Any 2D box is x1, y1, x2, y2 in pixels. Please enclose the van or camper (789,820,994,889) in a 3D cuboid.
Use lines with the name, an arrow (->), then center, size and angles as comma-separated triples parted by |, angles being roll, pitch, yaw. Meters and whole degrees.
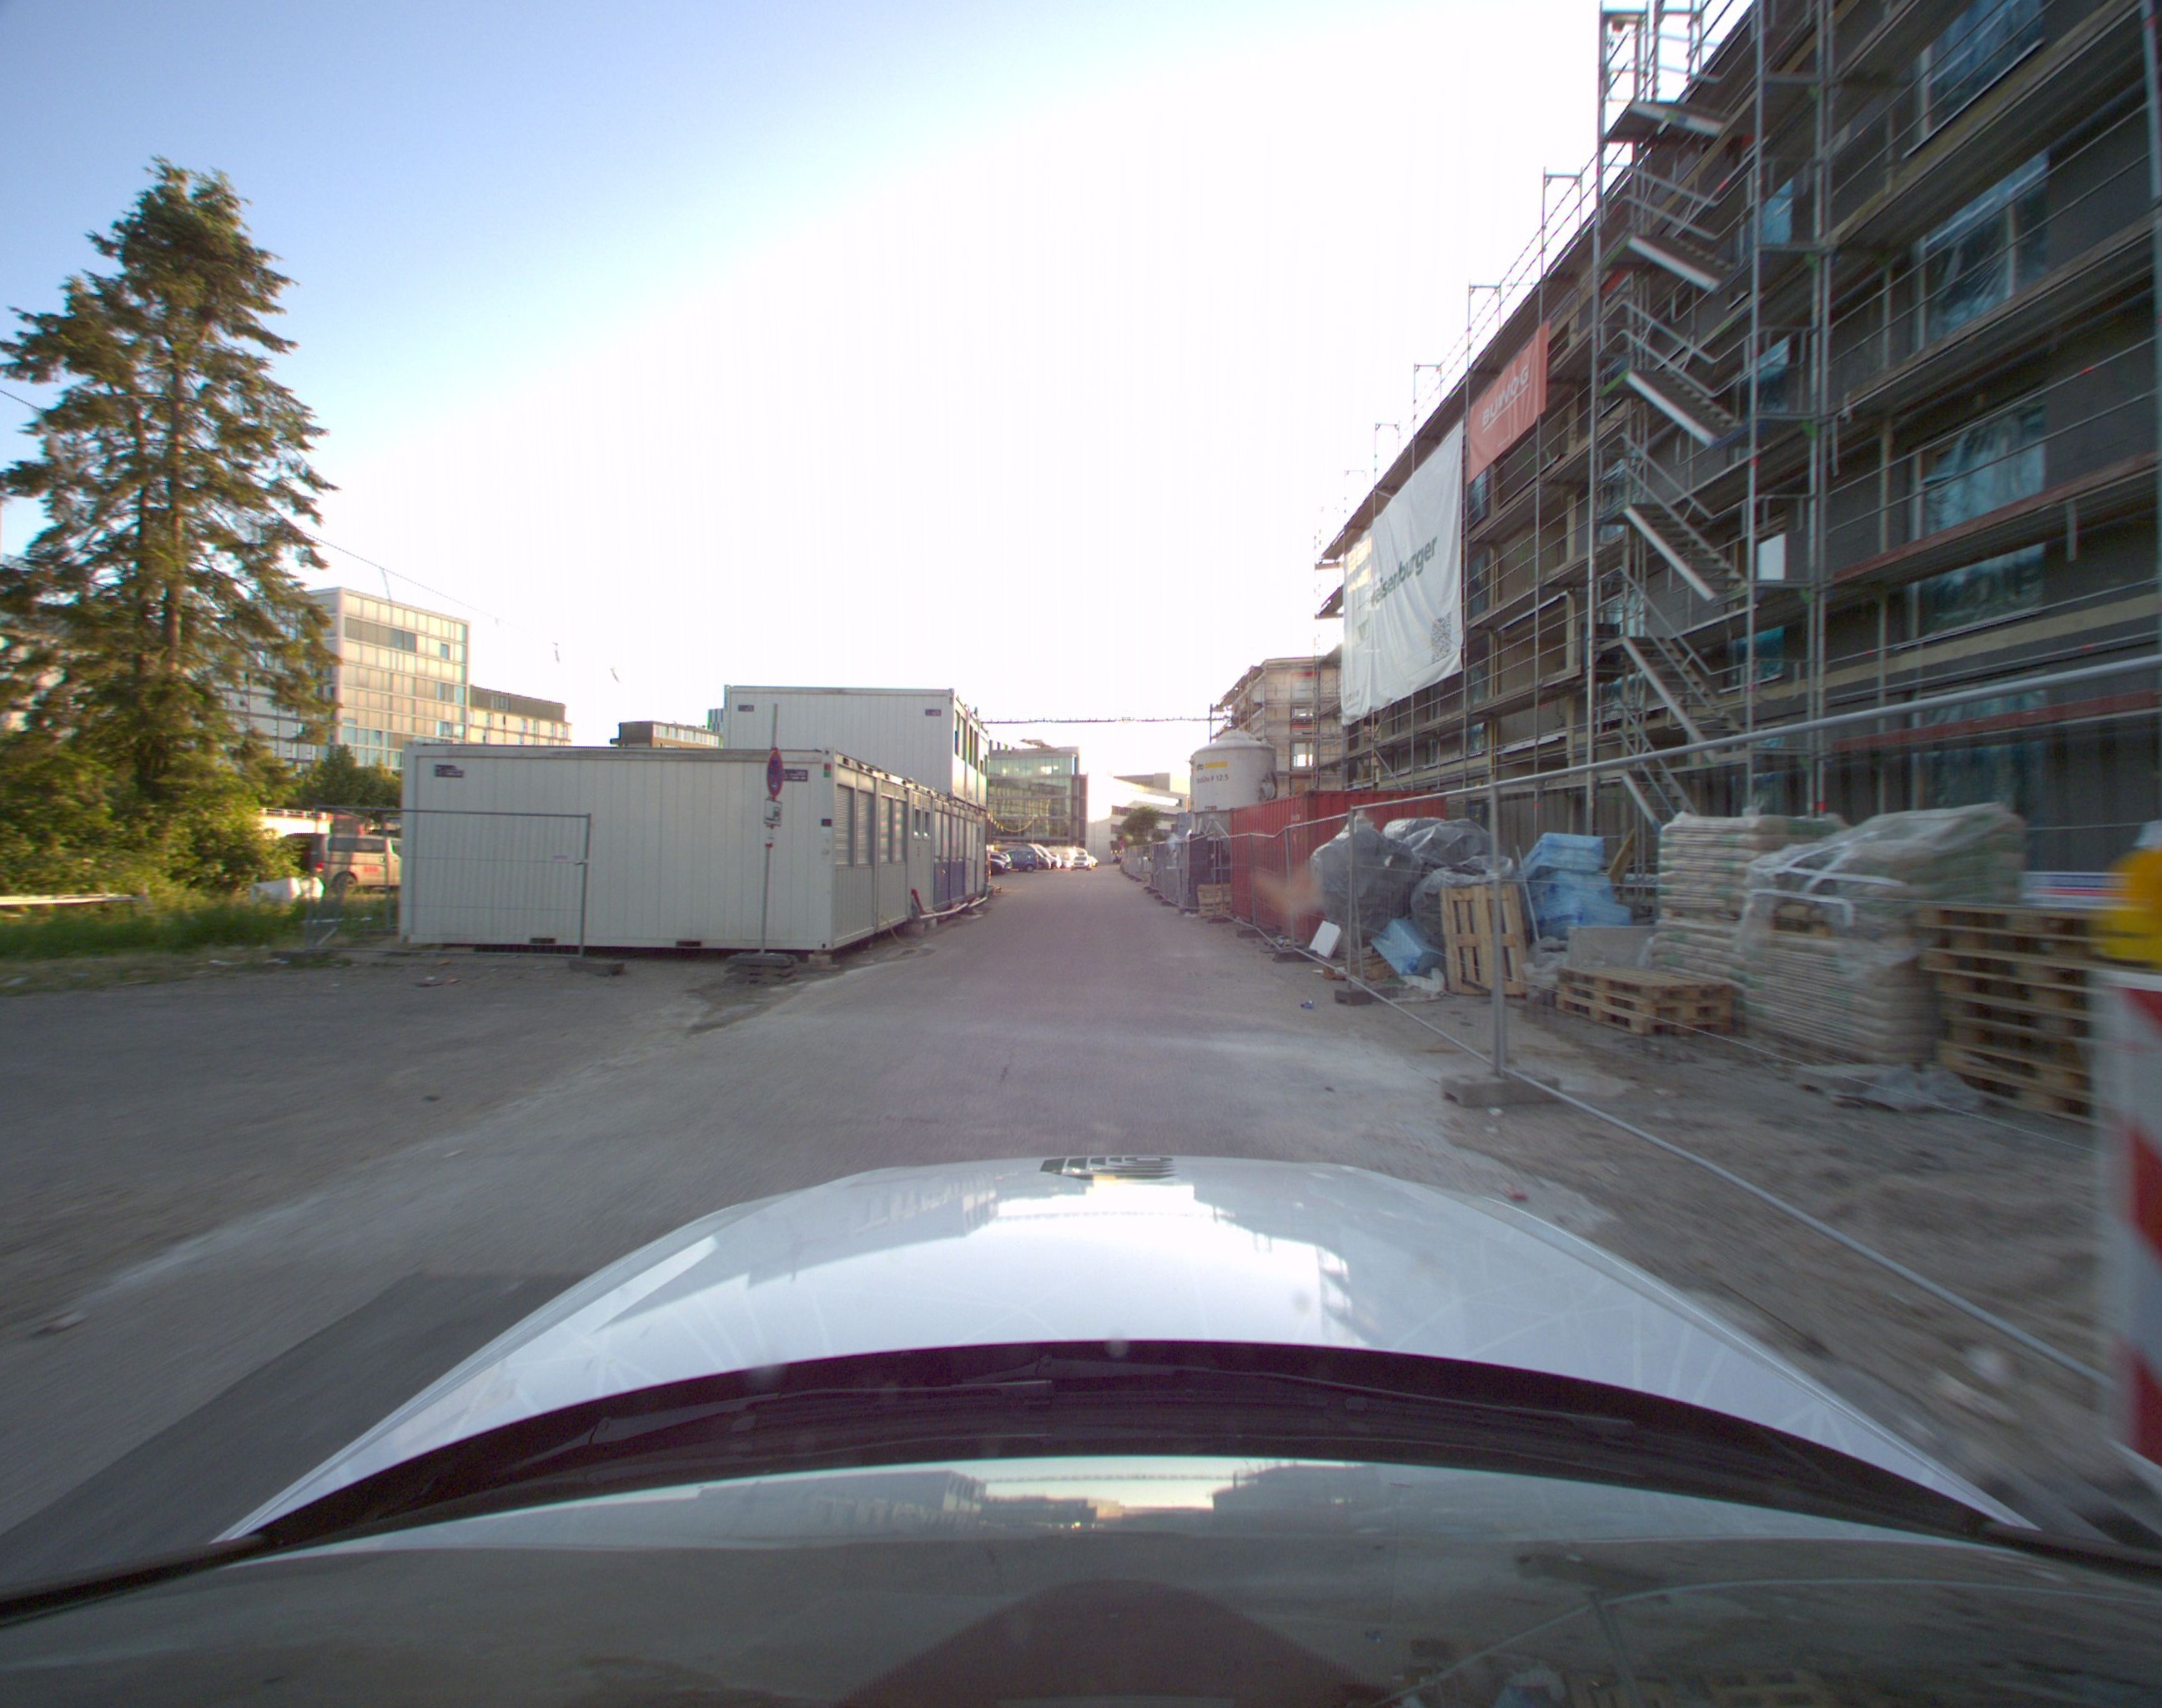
van or camper -> -8.562, 0.018, 37.376 | 8.730, 3.049, 2.596 | 0, 0, 2

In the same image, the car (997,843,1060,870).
car -> -5.407, 0.216, 84.317 | 6.305, 2.741, 2.000 | 0, 0, 1

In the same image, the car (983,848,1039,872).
car -> -5.687, 0.482, 66.529 | 4.496, 1.868, 1.997 | 0, 0, -5

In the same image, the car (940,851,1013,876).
car -> -7.081, 0.616, 55.432 | 4.476, 1.648, 2.005 | 0, 0, 9

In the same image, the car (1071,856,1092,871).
car -> 0.039, 0.932, 82.495 | 1.656, 1.529, 3.918 | 0, 0, 7

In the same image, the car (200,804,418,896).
car -> -24.810, -0.110, 26.502 | 1.981, 2.692, 4.871 | 1, 0, 9

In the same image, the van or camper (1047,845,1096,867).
van or camper -> -1.295, 0.249, 113.436 | 6.289, 2.979, 2.301 | 1, -1, 13

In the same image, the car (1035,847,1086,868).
car -> -2.525, 0.380, 99.534 | 5.884, 2.490, 2.006 | 0, 0, 11

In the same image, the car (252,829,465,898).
car -> -22.825, 0.295, 26.056 | 1.981, 1.974, 4.871 | 1, 0, 9

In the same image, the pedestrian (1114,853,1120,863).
pedestrian -> 6.389, 0.665, 145.168 | 0.756, 1.816, 0.850 | 0, 0, 24

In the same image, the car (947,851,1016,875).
car -> -7.088, 0.618, 58.081 | 4.476, 1.648, 2.005 | 0, 0, 9

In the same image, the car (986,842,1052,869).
car -> -6.103, 0.170, 80.426 | 6.305, 2.651, 2.000 | 0, 0, 1

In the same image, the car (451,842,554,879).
car -> -32.799, 0.363, 46.375 | 1.983, 1.974, 4.866 | 1, 0, 6
